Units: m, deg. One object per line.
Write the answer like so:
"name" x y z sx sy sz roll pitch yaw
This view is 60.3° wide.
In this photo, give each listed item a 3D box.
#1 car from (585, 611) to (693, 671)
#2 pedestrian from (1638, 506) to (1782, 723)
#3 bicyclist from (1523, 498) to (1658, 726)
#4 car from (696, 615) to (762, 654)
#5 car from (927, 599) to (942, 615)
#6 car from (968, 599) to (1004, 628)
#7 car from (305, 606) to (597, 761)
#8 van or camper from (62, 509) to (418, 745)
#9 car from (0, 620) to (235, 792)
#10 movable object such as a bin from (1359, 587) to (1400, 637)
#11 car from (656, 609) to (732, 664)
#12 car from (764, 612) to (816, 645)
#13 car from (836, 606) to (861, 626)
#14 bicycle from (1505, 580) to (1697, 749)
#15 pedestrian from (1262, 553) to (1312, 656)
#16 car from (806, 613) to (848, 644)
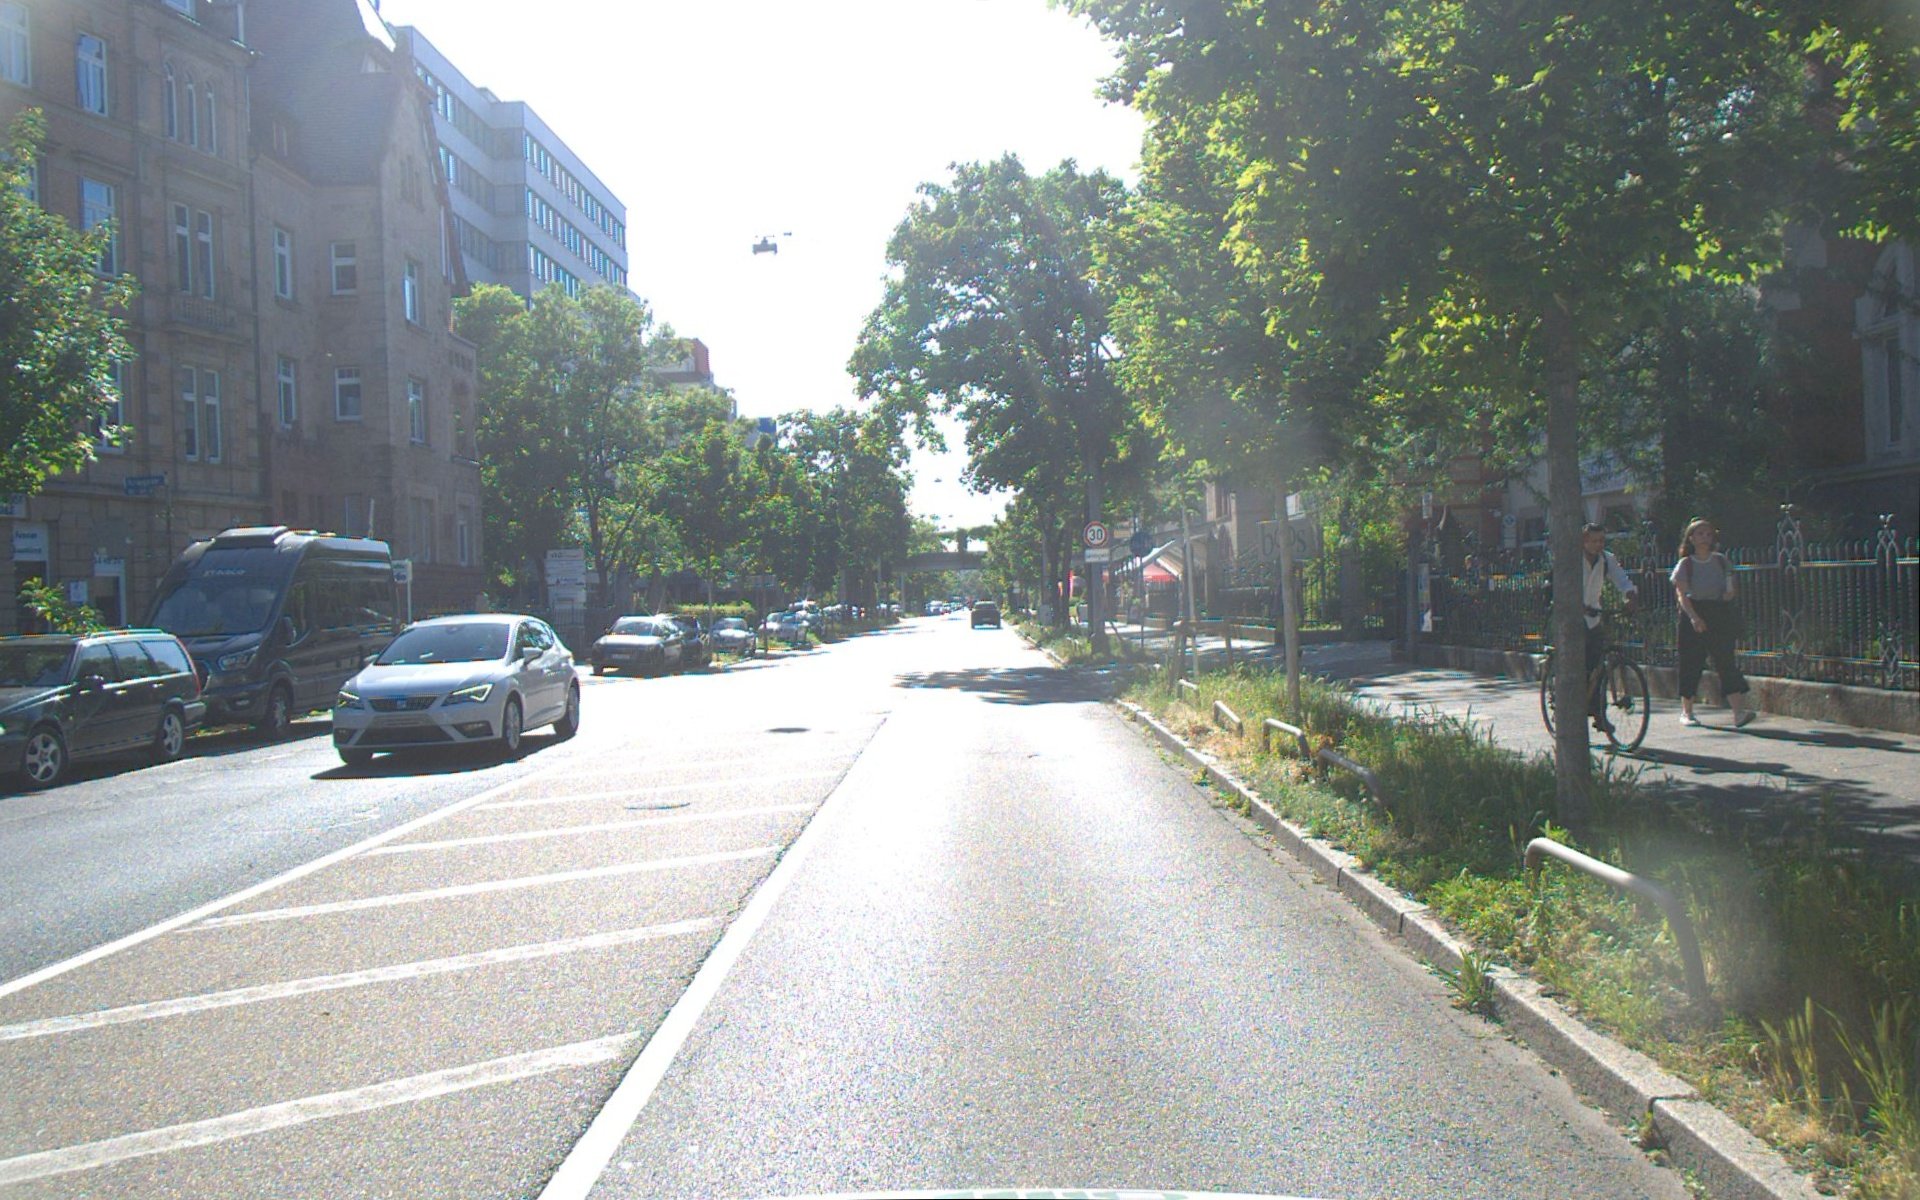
"car" -8.530 1.058 44.336 1.817 1.452 4.720 2 0 1
"pedestrian" 6.183 0.122 13.675 0.680 1.687 0.820 -4 -1 0
"bicyclist" 5.028 0.096 13.235 0.608 1.719 0.820 -5 0 -3
"car" -8.029 1.179 57.763 1.643 1.277 4.015 -1 0 1
"car" -3.157 0.848 206.508 1.818 1.857 4.609 -3 0 -1
"car" 1.500 0.803 97.040 1.944 1.628 4.140 -1 0 -1
"car" -5.411 0.818 18.191 1.879 1.444 4.225 -2 0 0
"van or camper" -9.671 0.327 22.971 2.171 2.787 6.088 -1 0 0
"car" -9.388 1.017 17.047 1.659 1.482 4.663 -3 0 0
"movable object such as a bin" 8.741 0.242 34.491 0.612 0.982 0.667 -4 0 0
"car" -7.989 1.060 50.049 1.819 1.520 4.702 2 0 -4
"car" -7.515 1.251 73.354 1.653 1.407 4.192 -1 0 3
"car" -9.536 1.357 141.456 1.817 1.595 3.872 -1 0 1
"bicycle" 5.060 0.478 13.192 0.604 1.197 1.918 -5 0 -3
"pedestrian" 6.050 0.079 30.604 0.732 1.818 0.811 -4 -1 14
"car" -6.777 1.447 84.639 1.676 1.484 4.073 -1 0 2
